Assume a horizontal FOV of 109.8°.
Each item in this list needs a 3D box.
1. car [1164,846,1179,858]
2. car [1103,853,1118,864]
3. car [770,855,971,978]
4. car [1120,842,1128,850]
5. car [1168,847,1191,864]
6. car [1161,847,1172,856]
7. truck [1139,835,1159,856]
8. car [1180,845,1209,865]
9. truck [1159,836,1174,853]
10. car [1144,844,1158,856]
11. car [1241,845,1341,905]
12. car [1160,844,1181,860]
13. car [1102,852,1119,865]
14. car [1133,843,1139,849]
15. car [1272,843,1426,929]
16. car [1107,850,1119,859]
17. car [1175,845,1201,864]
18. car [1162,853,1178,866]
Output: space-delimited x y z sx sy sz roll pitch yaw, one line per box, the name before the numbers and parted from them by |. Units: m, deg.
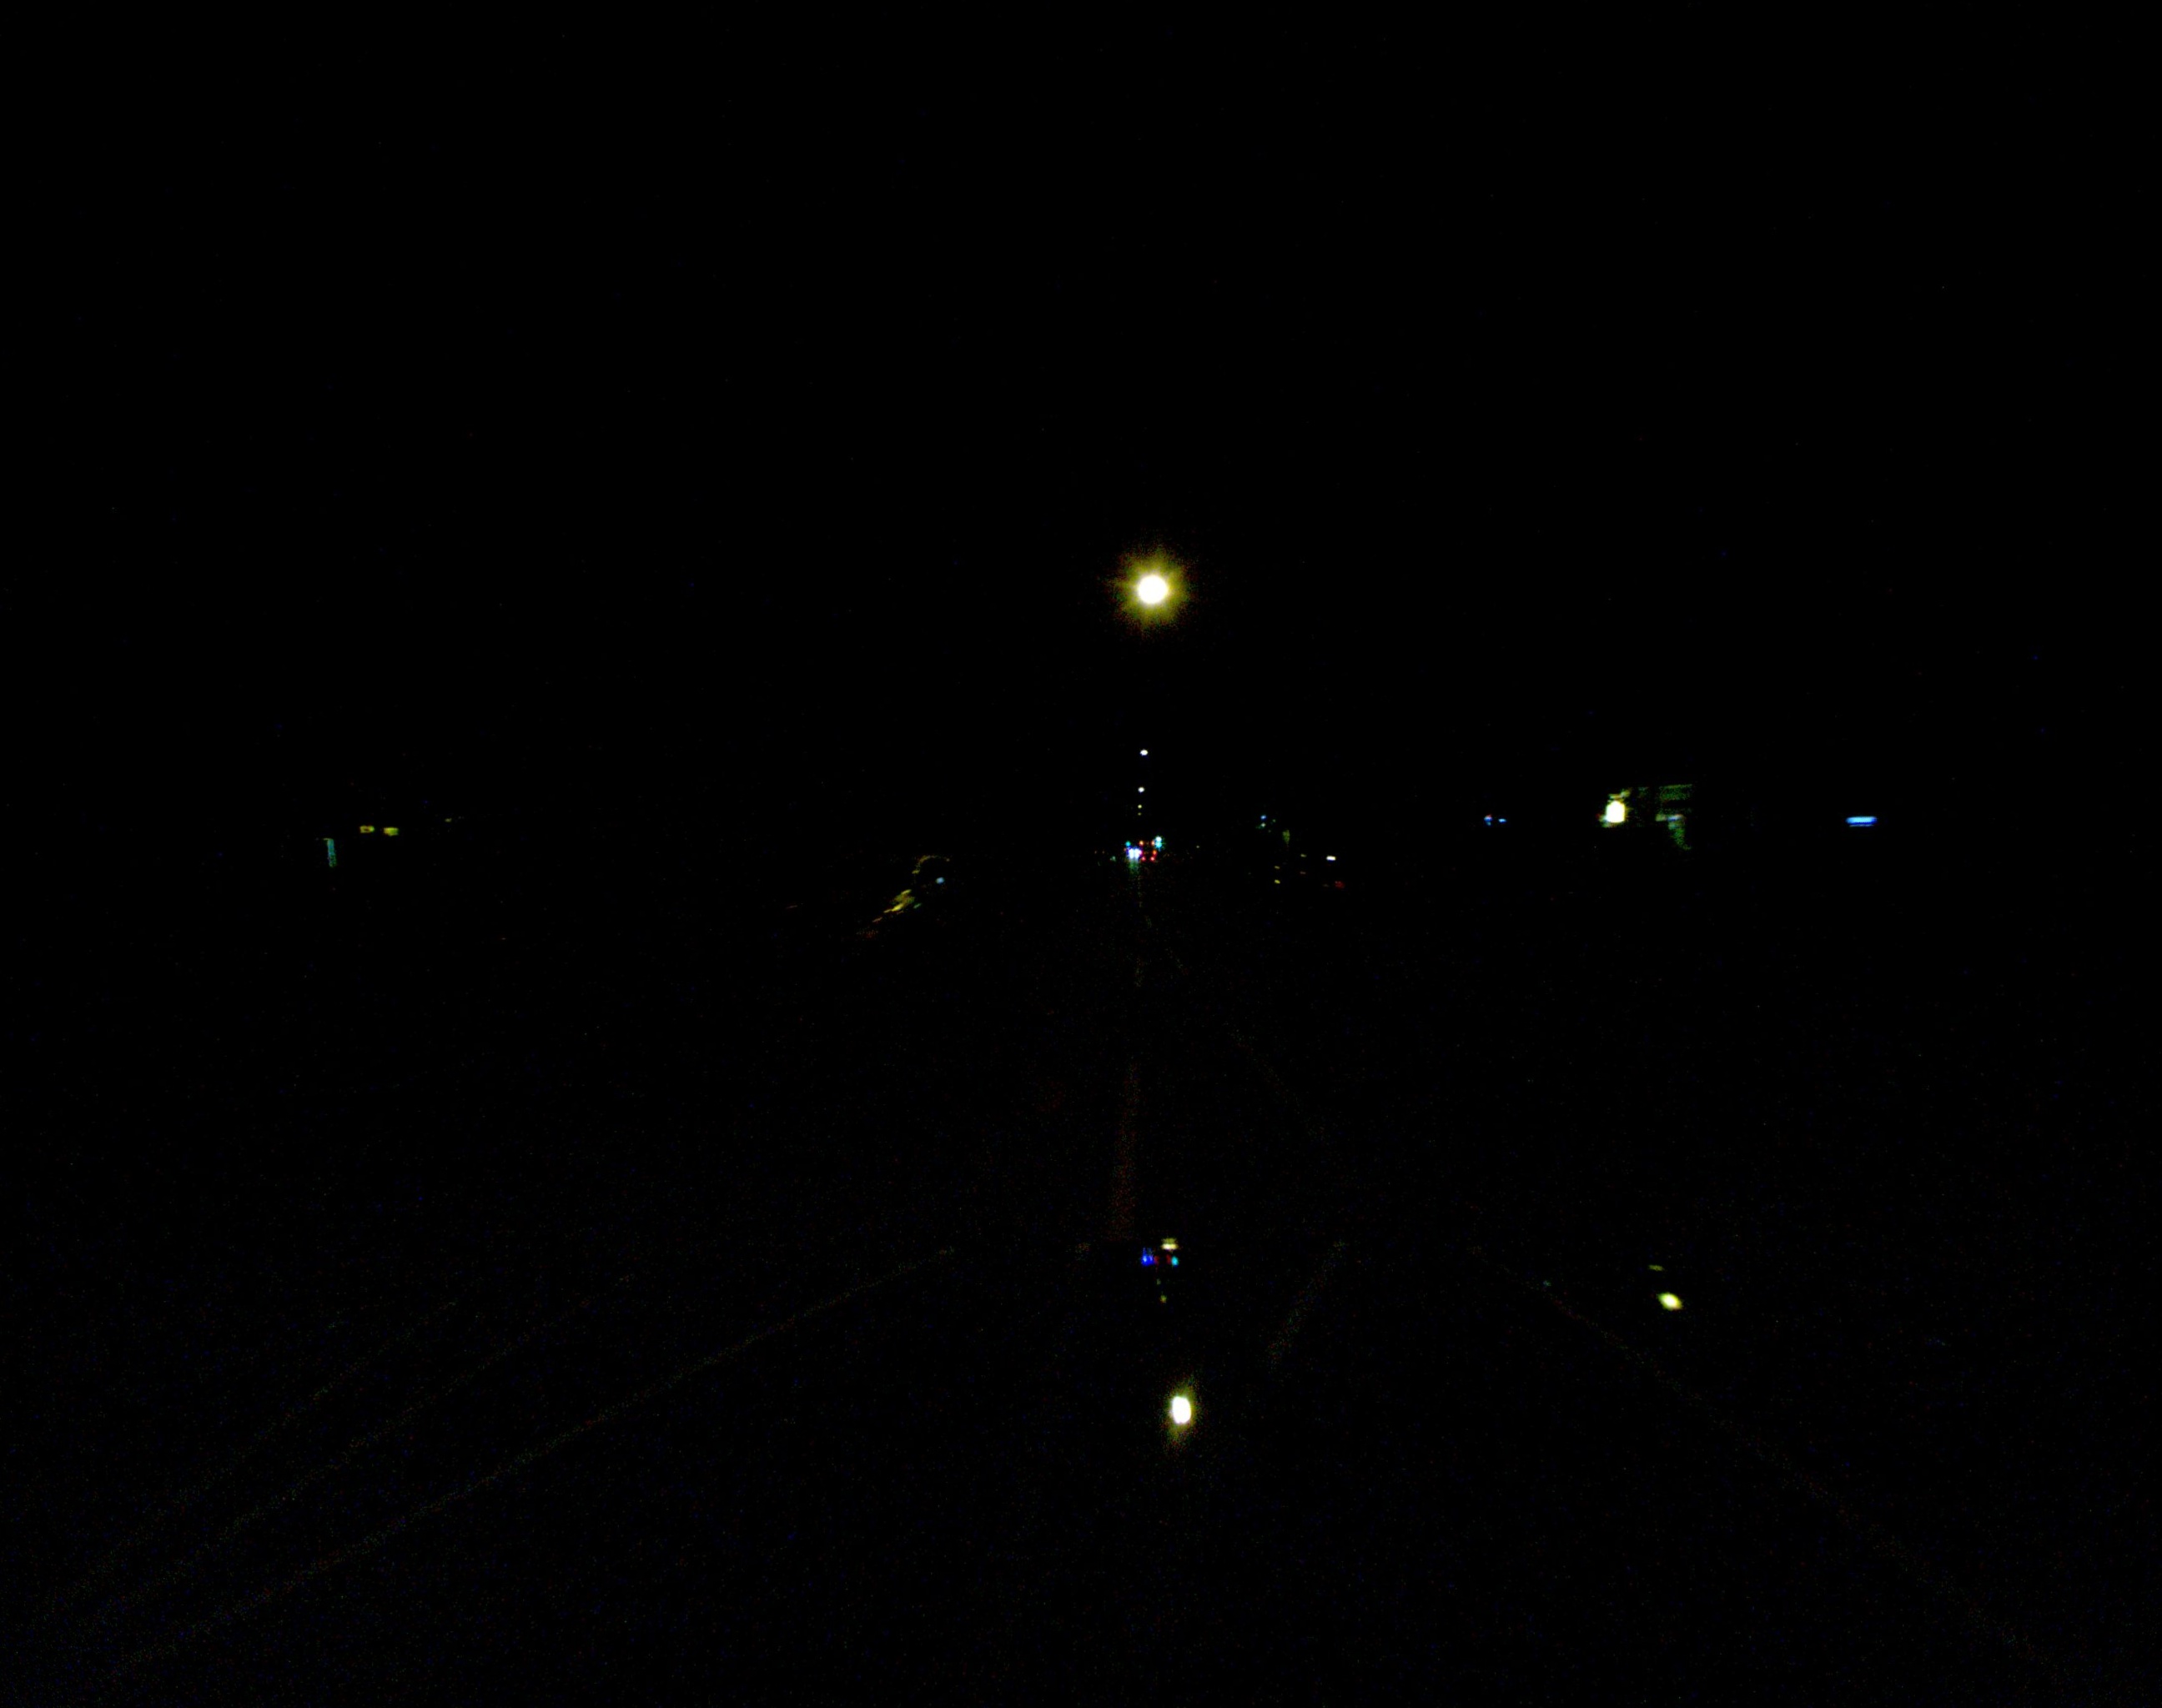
car | 12.854 -0.317 108.318 1.873 1.551 4.354 -2 0 5
car | 3.889 0.597 99.282 1.873 1.407 4.001 -2 0 3
car | -3.155 0.841 12.391 1.741 1.588 4.360 1 0 5
car | 10.422 -1.834 183.910 1.792 1.829 3.846 -1 0 3
car | 9.735 0.132 75.338 1.873 1.635 4.000 -2 0 1
car | 16.028 -0.527 142.593 1.873 1.551 4.354 -2 0 5
truck | 11.661 -1.401 130.122 3.221 3.360 8.853 -2 0 5
car | 9.635 0.080 64.565 1.873 1.635 4.000 -2 0 1
truck | 13.397 -1.495 119.116 2.084 2.562 6.875 -2 0 5
car | 9.905 -0.610 107.971 1.873 1.635 4.001 -2 0 5
car | 5.849 0.540 21.625 1.864 1.458 3.898 -3 0 3
car | 9.786 -0.241 83.511 1.873 1.635 4.000 -2 0 1
car | 3.608 0.505 91.673 1.873 1.407 4.001 -2 0 3
car | 16.183 -2.446 222.642 1.774 1.672 3.815 -2 1 4
car | 5.607 0.590 16.553 1.864 1.523 4.589 -3 0 3
car | 5.435 0.115 128.602 1.873 1.407 4.001 -2 0 3
car | 9.678 0.023 69.010 1.873 1.635 4.000 -2 0 1
car | 11.202 0.655 95.946 1.873 1.551 4.001 -2 0 5
